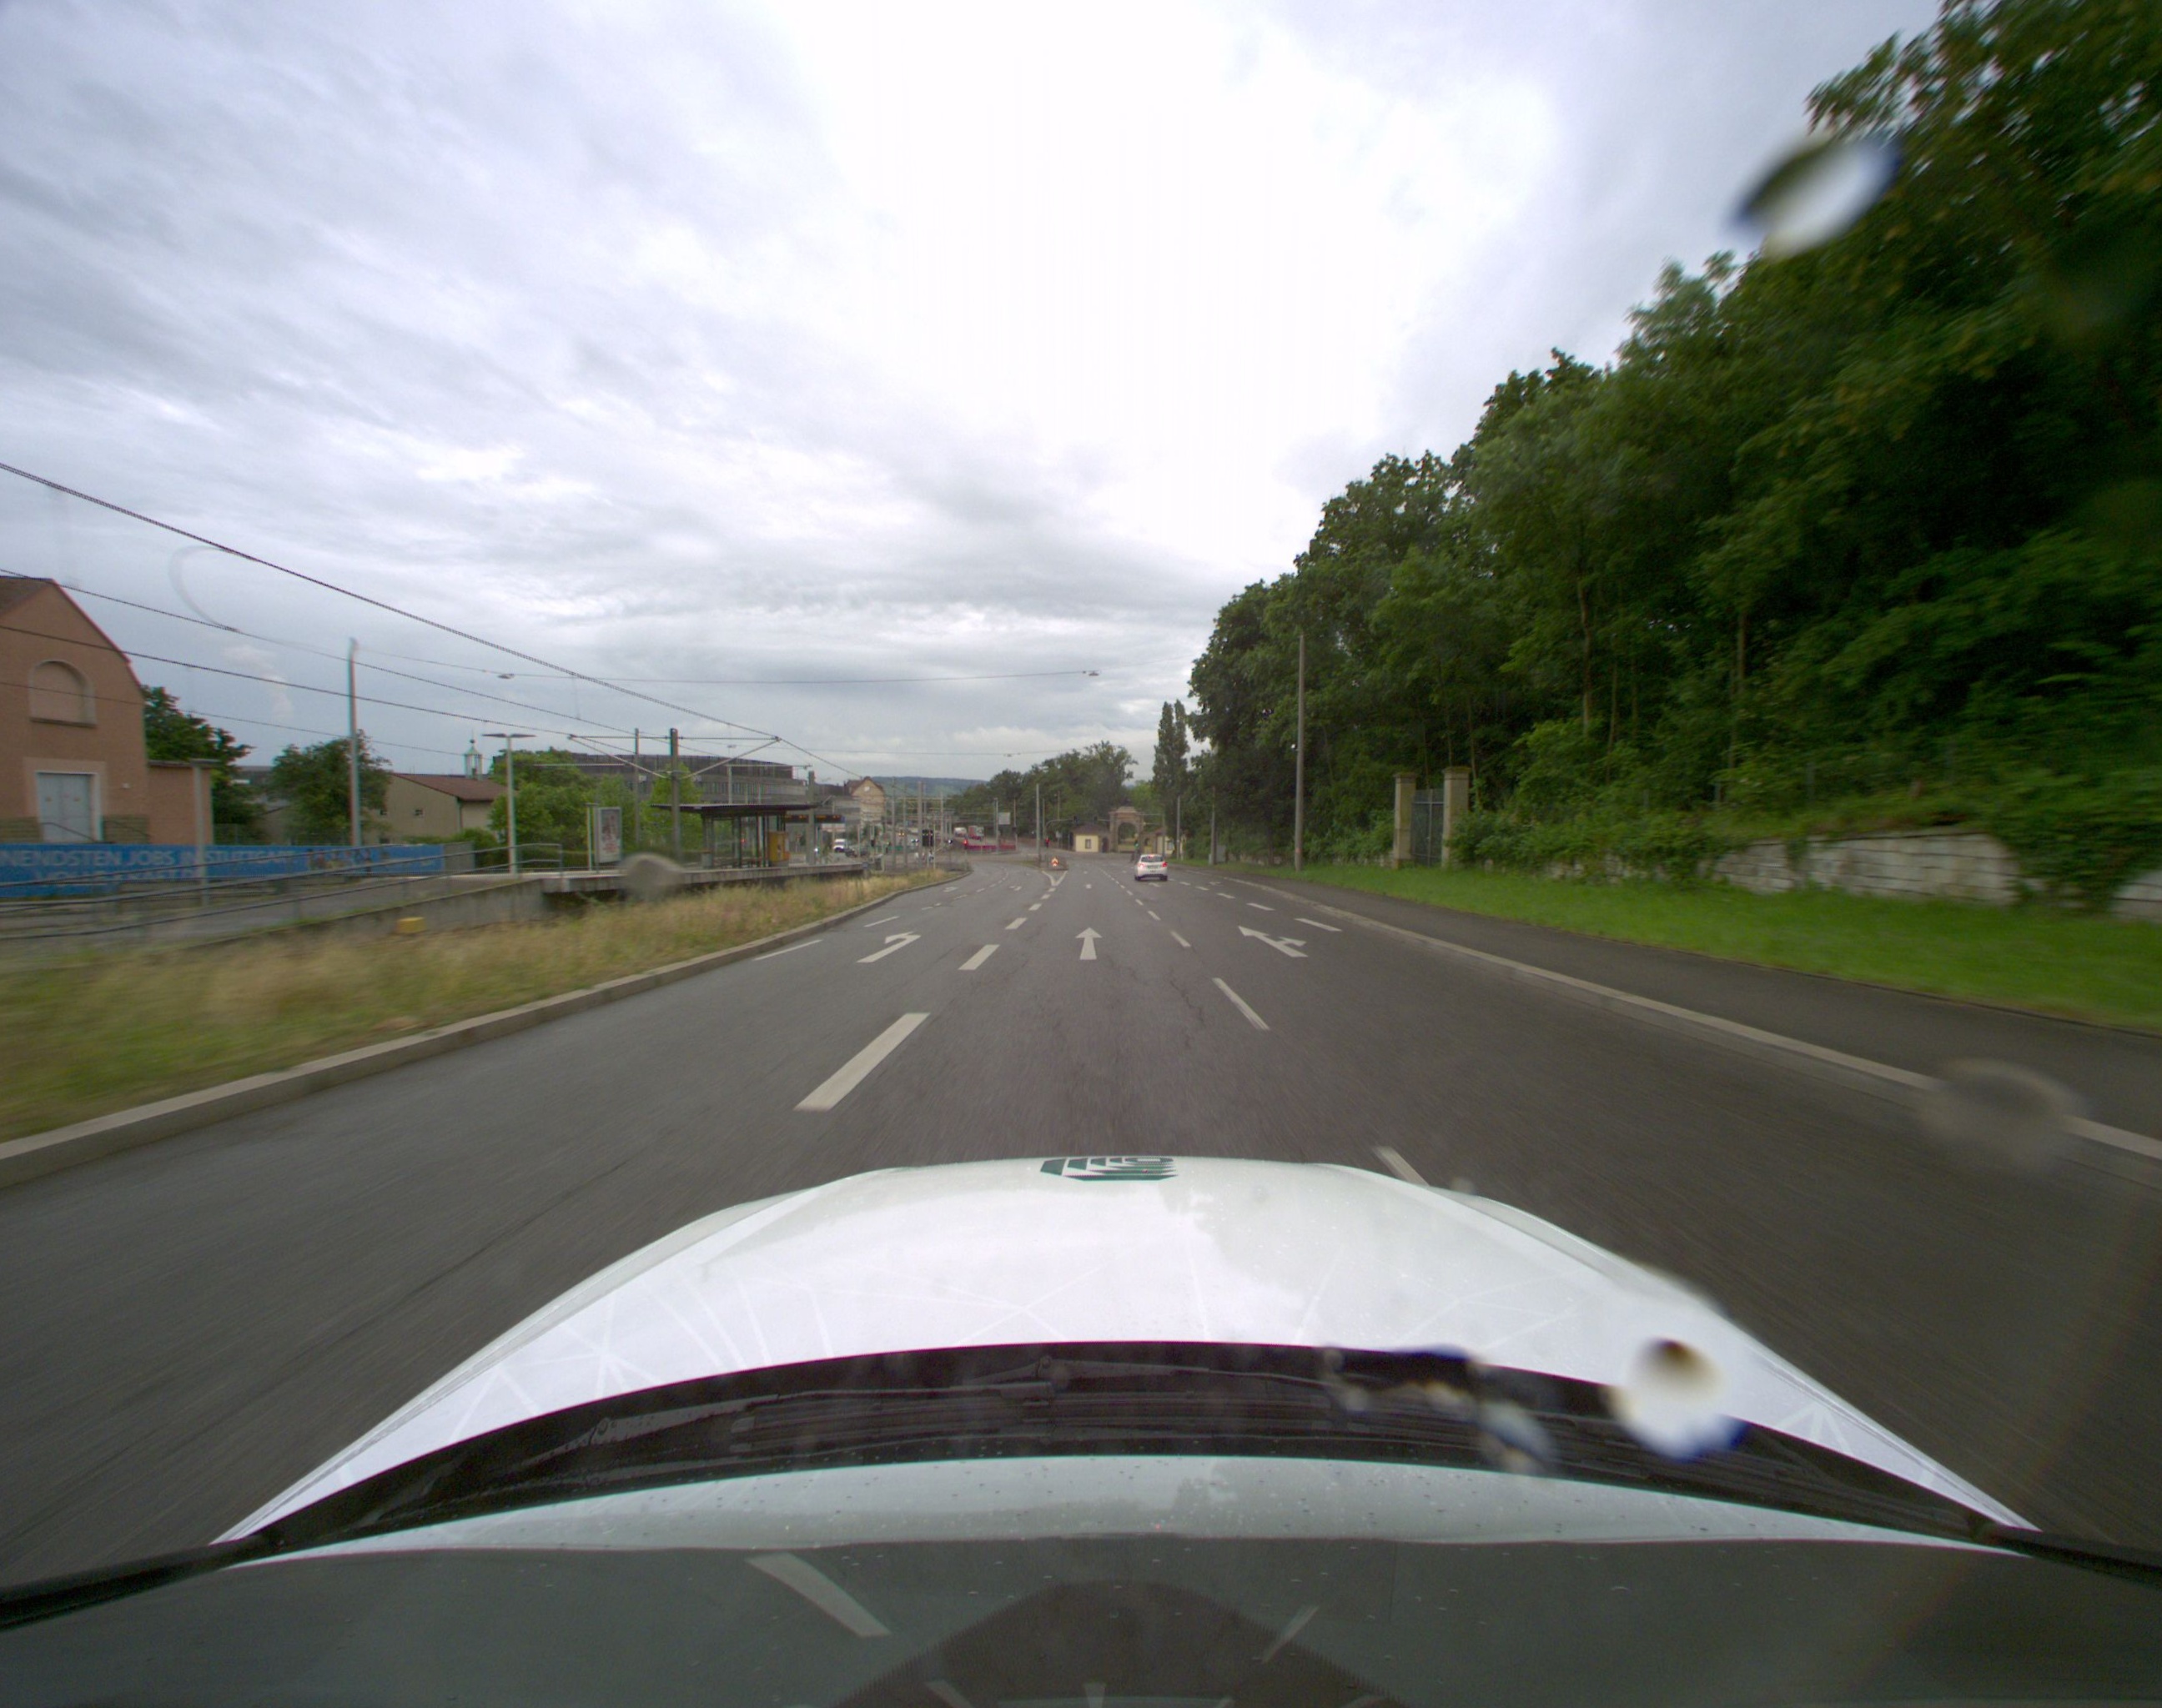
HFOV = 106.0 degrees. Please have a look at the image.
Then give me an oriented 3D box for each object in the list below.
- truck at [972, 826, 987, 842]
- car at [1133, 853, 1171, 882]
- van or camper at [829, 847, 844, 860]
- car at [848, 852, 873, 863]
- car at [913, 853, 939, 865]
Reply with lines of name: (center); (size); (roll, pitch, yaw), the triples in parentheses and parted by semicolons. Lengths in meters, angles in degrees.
truck: (-31.838, -6.235, 254.280); (3.417, 4.570, 11.240); (2, 0, -12)
car: (3.977, 0.767, 46.331); (1.862, 1.511, 3.900); (-2, -1, 1)
van or camper: (-46.124, -0.112, 153.550); (1.992, 2.344, 3.990); (-2, 0, -7)
car: (-35.477, 0.541, 131.057); (3.948, 1.706, 2.013); (0, 0, 39)
car: (-23.209, 0.730, 121.965); (3.950, 1.606, 1.839); (2, 1, 43)
